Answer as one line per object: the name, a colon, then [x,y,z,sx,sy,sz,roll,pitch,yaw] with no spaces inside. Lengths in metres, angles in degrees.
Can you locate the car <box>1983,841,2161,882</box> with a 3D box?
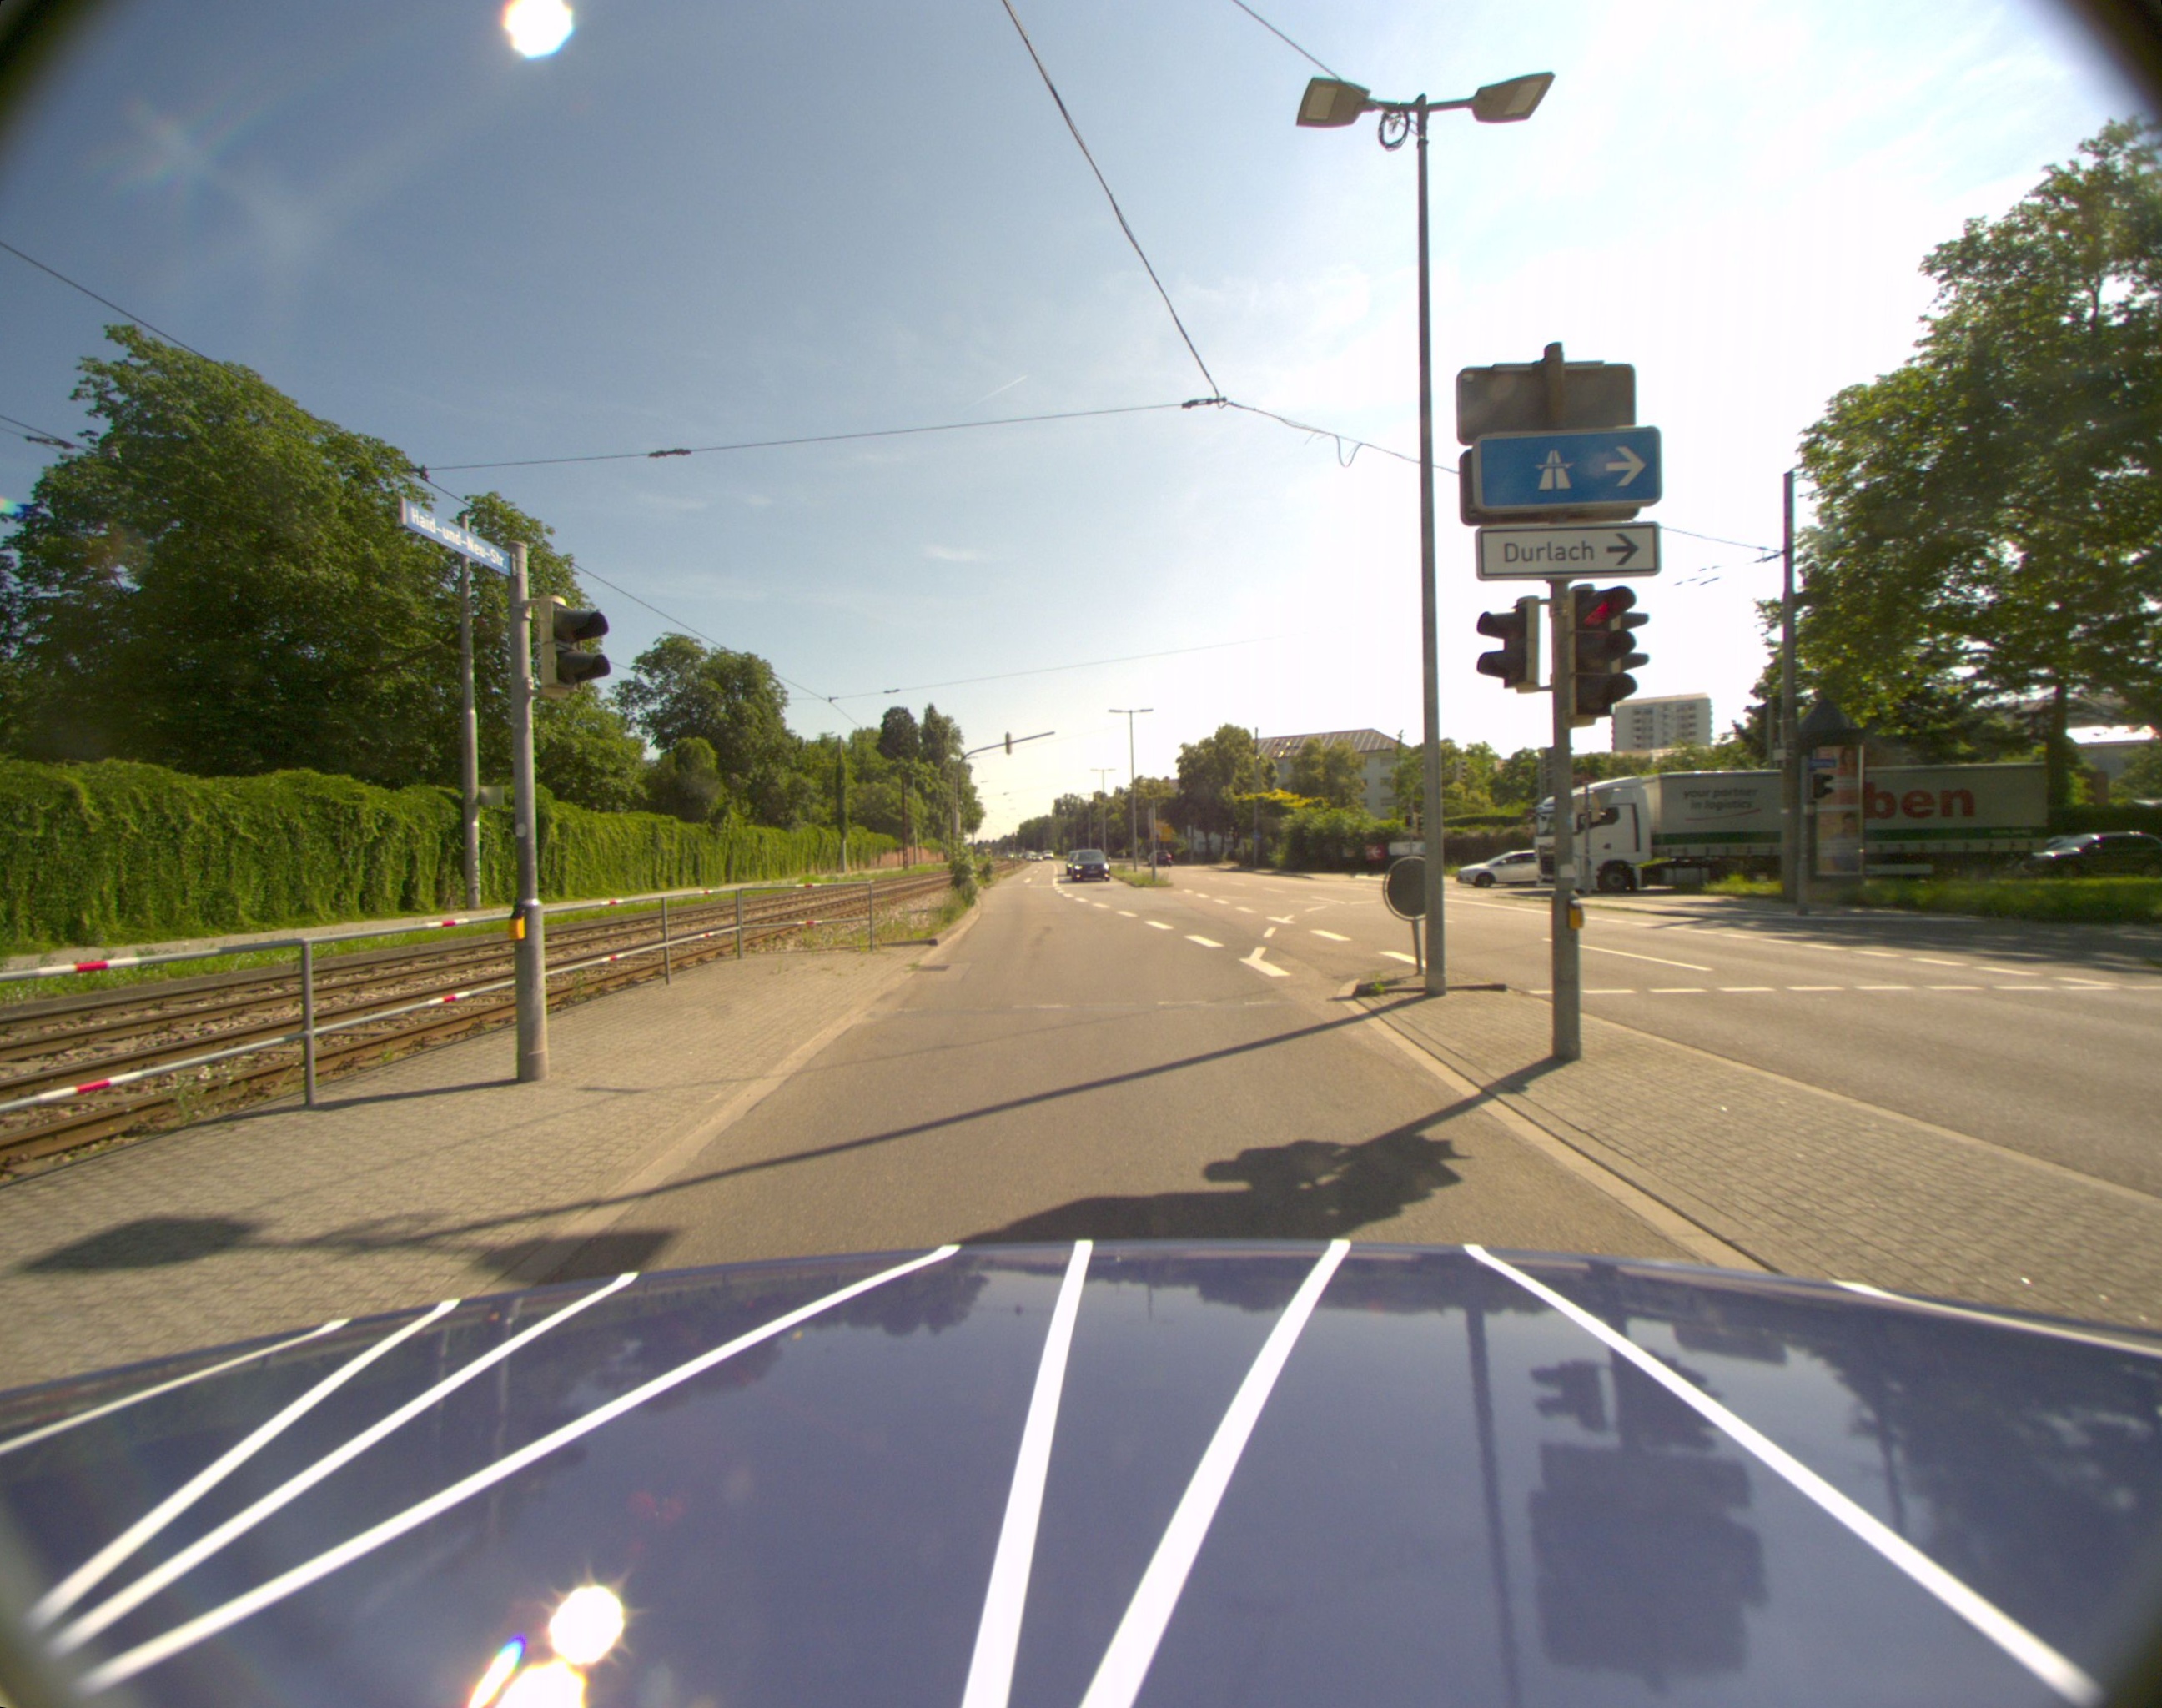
car: [36.237,0.265,27.618,4.365,1.360,1.757,-2,-1,7]

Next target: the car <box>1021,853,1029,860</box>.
car: [-14.216,0.653,191.423,1.931,1.593,4.466,-2,1,-4]

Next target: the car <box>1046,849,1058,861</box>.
car: [-6.153,0.253,161.099,2.265,2.336,5.228,-2,1,-3]

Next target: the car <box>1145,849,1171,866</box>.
car: [7.380,0.329,72.877,1.755,1.573,4.503,0,0,-4]

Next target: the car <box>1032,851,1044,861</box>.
car: [-7.381,0.363,130.096,1.931,1.593,4.466,-2,1,-4]

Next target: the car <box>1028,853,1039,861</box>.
car: [-9.264,0.552,147.287,1.931,1.593,4.466,-2,1,-4]

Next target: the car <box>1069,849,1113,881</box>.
car: [0.470,0.528,39.599,1.756,1.573,4.503,-1,0,-6]

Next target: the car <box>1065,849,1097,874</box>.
car: [-0.046,0.453,50.875,1.756,1.573,4.503,-1,0,-5]

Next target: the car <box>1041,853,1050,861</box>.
car: [-8.506,0.698,180.047,1.931,1.593,4.466,-2,1,-4]

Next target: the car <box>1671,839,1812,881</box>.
car: [24.890,0.239,28.743,3.734,1.425,1.635,-2,-1,7]

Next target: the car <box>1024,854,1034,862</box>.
car: [-10.973,0.830,160.880,1.931,1.593,4.466,-2,1,-4]

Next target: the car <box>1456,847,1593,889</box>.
car: [17.439,0.564,30.122,4.389,1.501,1.759,-2,-1,17]

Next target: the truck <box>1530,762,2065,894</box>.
truck: [23.175,-0.766,25.341,14.287,3.984,2.855,0,1,5]
